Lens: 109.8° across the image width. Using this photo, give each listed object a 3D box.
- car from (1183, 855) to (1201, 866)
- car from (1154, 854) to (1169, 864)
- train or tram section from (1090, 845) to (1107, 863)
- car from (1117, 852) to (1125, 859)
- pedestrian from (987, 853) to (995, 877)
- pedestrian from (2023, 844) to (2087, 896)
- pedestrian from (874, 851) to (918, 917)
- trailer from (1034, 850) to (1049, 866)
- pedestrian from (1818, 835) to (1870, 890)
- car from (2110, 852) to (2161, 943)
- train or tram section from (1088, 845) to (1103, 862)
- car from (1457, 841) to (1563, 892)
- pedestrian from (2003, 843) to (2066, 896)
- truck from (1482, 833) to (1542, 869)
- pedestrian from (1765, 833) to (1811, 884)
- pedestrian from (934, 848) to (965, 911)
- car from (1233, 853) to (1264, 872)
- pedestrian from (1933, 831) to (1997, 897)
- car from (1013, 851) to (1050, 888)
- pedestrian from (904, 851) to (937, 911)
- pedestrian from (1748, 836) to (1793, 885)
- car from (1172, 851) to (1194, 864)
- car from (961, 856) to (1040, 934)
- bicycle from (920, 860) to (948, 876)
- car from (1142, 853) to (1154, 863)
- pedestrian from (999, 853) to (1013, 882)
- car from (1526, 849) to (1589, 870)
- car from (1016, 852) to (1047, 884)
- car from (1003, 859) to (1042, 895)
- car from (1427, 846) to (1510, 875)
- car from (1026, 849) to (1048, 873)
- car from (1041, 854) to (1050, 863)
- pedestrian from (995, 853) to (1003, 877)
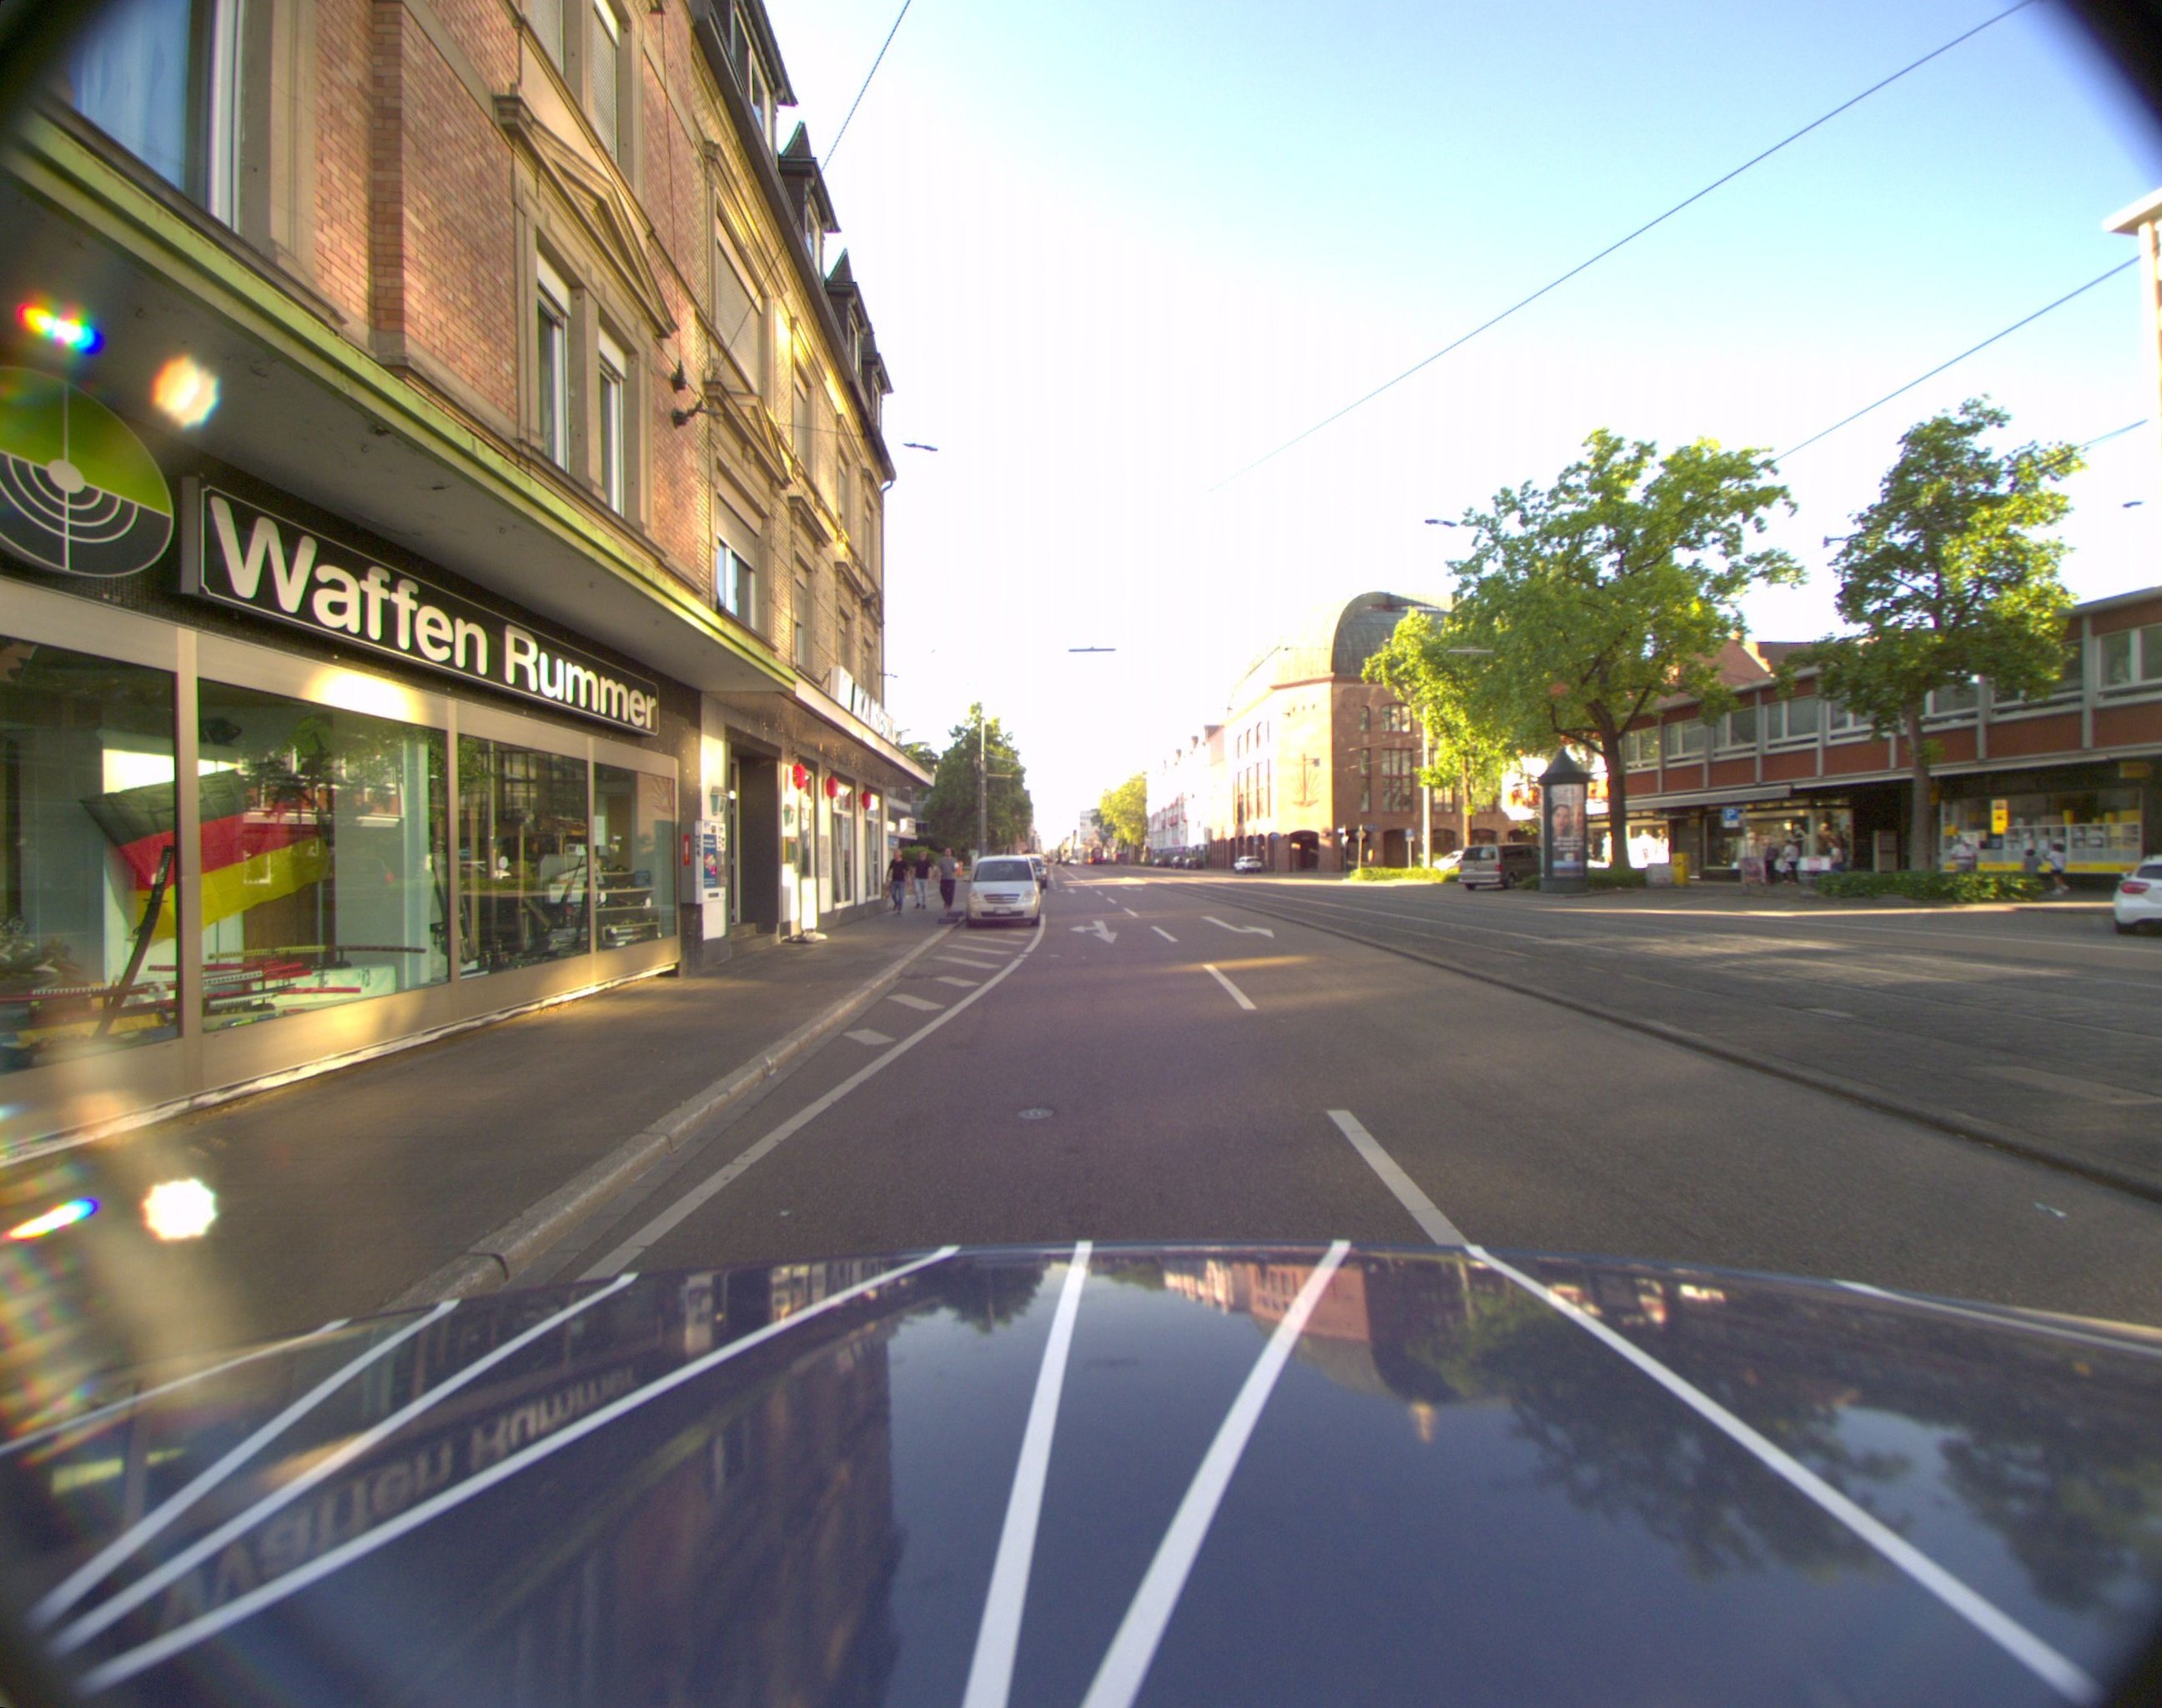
[{"bbox_3d":[14.280,0.832,97.524,1.646,1.392,3.682,-2,0,-2],"label":"car"},{"bbox_3d":[13.047,0.795,123.185,1.829,1.500,4.559,-2,0,-2],"label":"car"},{"bbox_3d":[3.633,-0.073,157.858,2.683,3.530,12.837,0,0,-3],"label":"train or tram section"},{"bbox_3d":[11.353,0.424,216.418,1.861,1.914,3.999,0,0,-1],"label":"car"},{"bbox_3d":[-6.541,0.785,55.286,0.494,1.703,0.437,2,1,-3],"label":"pedestrian"},{"bbox_3d":[28.045,0.445,21.887,0.689,1.462,0.900,-1,0,-5],"label":"pedestrian"},{"bbox_3d":[-4.949,0.783,20.389,0.903,1.703,1.032,2,0,-3],"label":"pedestrian"},{"bbox_3d":[-5.466,0.508,105.241,1.784,2.136,5.315,-2,0,0],"label":"trailer"},{"bbox_3d":[26.524,0.278,26.422,0.919,1.867,0.900,-1,1,-5],"label":"pedestrian"},{"bbox_3d":[20.680,0.742,14.039,4.276,1.421,1.762,-3,1,-34],"label":"car"},{"bbox_3d":[3.095,-0.150,170.079,2.683,3.530,11.123,0,0,-3],"label":"train or tram section"},{"bbox_3d":[18.629,0.482,32.886,5.130,1.918,1.849,-3,2,-34],"label":"car"},{"bbox_3d":[27.324,0.440,21.793,0.689,1.488,0.900,-1,0,-5],"label":"pedestrian"},{"bbox_3d":[34.234,-0.240,60.535,1.856,2.747,4.528,-1,0,-7],"label":"truck"},{"bbox_3d":[27.769,0.171,29.856,0.996,1.937,0.900,-1,1,-5],"label":"pedestrian"},{"bbox_3d":[-4.020,0.767,23.309,0.796,1.888,1.032,0,1,-3],"label":"pedestrian"},{"bbox_3d":[15.518,0.757,70.736,1.600,1.581,4.276,-3,0,-4],"label":"car"},{"bbox_3d":[25.742,0.289,22.149,0.917,1.867,0.902,0,1,26],"label":"pedestrian"},{"bbox_3d":[-2.590,0.783,40.521,1.825,1.747,4.473,-2,1,-3],"label":"car"},{"bbox_3d":[-4.847,0.799,23.006,0.813,1.746,1.032,0,1,-3],"label":"pedestrian"},{"bbox_3d":[26.763,0.236,29.496,0.919,1.867,0.900,-1,1,-5],"label":"pedestrian"},{"bbox_3d":[13.983,0.451,104.375,1.964,1.690,4.559,-2,0,-4],"label":"car"},{"bbox_3d":[-1.844,0.886,18.232,1.642,1.605,3.943,-1,0,-4],"label":"car"},{"bbox_3d":[-10.394,1.001,53.697,1.886,1.090,0.469,0,1,-4],"label":"bicycle"},{"bbox_3d":[12.301,0.667,139.190,1.931,1.787,4.383,-1,0,1],"label":"car"},{"bbox_3d":[-4.622,0.819,46.710,0.789,1.727,0.945,-1,1,-3],"label":"pedestrian"},{"bbox_3d":[38.037,0.401,60.769,1.856,1.564,4.528,-1,0,-7],"label":"car"},{"bbox_3d":[-2.907,0.783,45.268,1.680,1.797,4.247,-2,0,-3],"label":"car"},{"bbox_3d":[-2.687,1.011,35.147,1.642,1.484,3.793,-3,0,-4],"label":"car"},{"bbox_3d":[28.543,0.443,56.049,4.993,1.957,2.130,-1,3,-4],"label":"car"},{"bbox_3d":[-4.033,0.620,69.929,1.882,2.009,4.904,-2,0,-2],"label":"car"},{"bbox_3d":[-5.772,0.802,125.019,1.420,1.425,3.871,-2,0,-3],"label":"car"},{"bbox_3d":[-5.914,0.768,54.905,0.494,1.703,0.437,2,1,-3],"label":"pedestrian"}]
